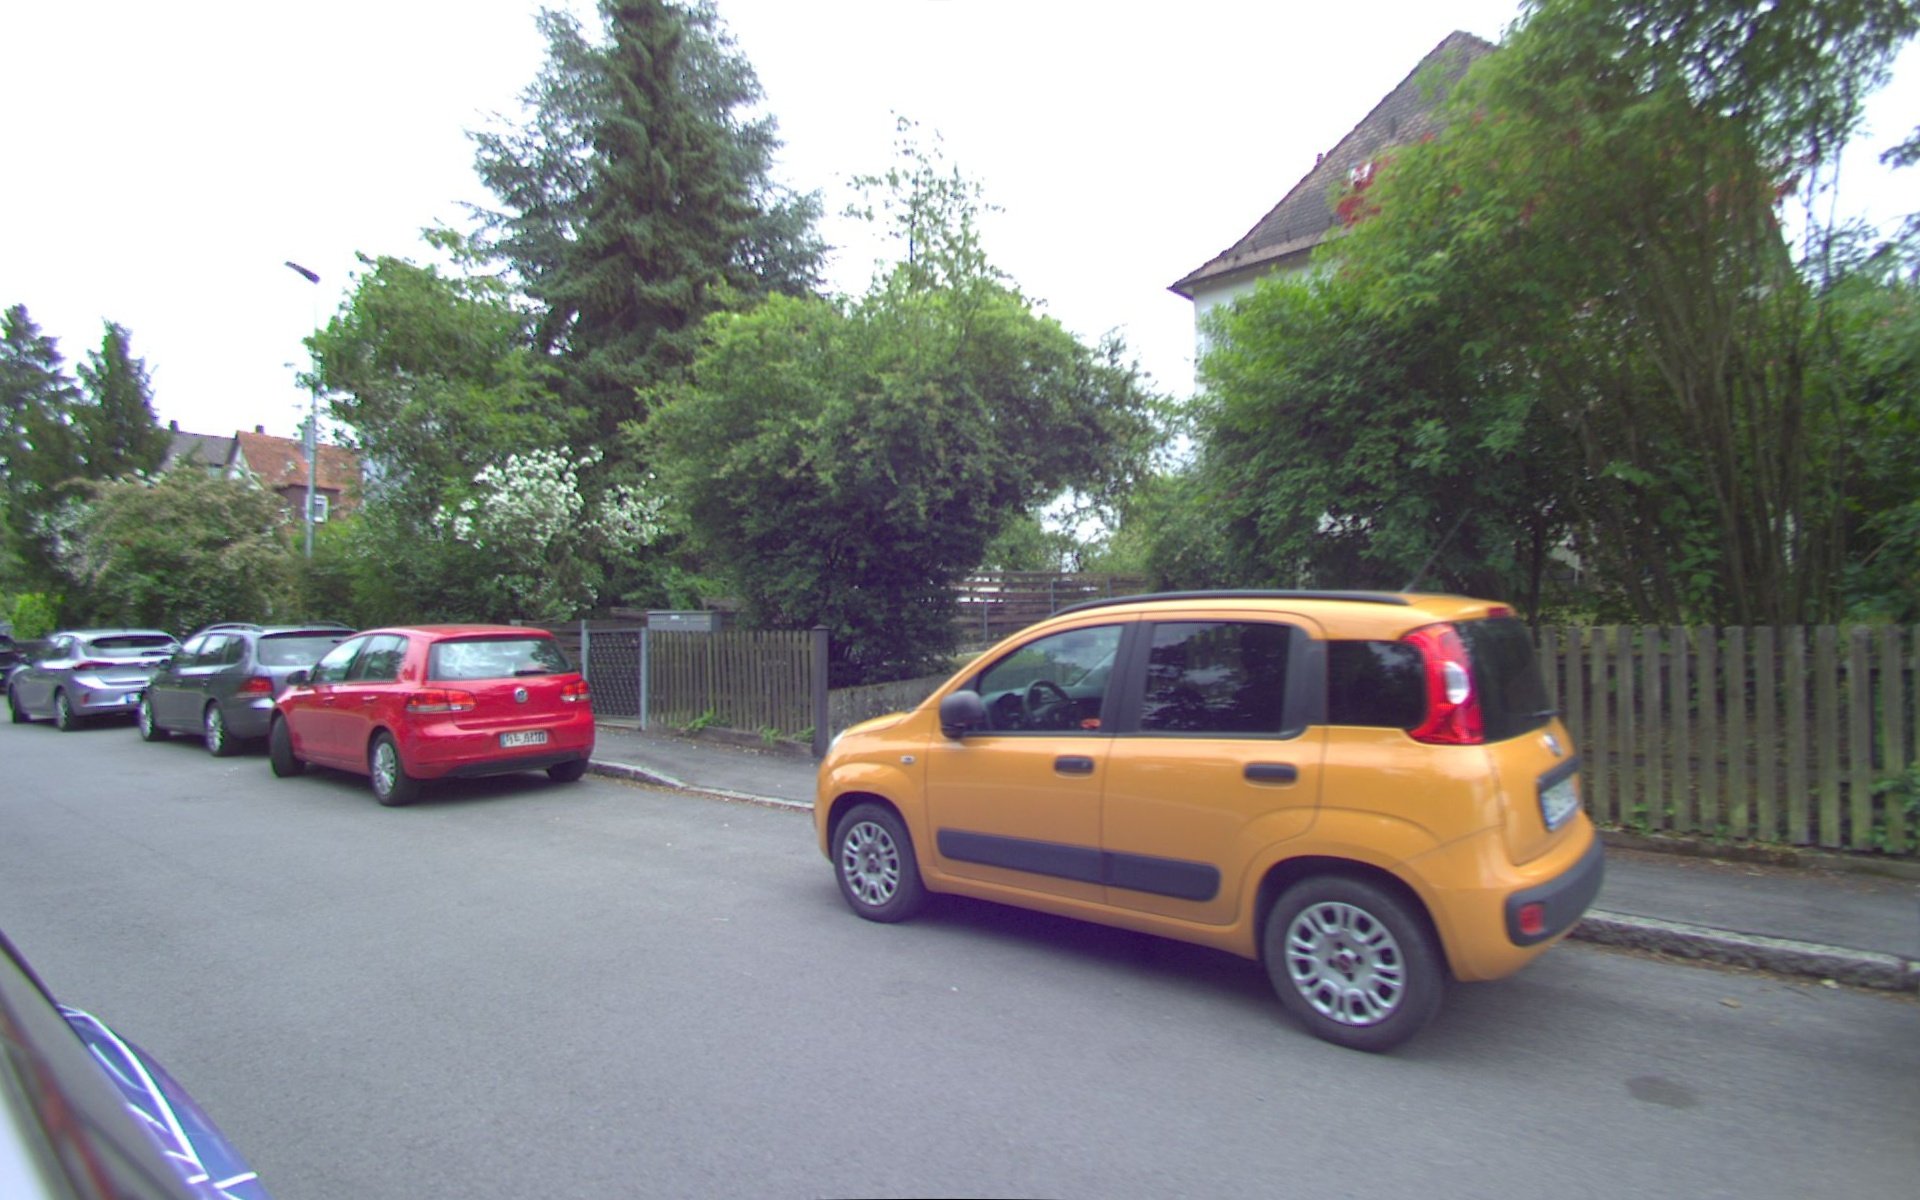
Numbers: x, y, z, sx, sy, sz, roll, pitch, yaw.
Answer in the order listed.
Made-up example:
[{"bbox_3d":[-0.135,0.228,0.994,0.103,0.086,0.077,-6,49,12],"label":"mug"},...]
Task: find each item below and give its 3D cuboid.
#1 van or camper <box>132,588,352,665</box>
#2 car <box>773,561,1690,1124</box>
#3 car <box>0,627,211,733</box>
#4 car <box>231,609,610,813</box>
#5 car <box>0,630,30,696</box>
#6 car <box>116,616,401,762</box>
[{"bbox_3d":[-27.672,0.933,39.243,2.324,2.671,6.606,-2,0,44],"label":"van or camper"},{"bbox_3d":[0.944,0.697,4.513,3.640,1.526,1.528,-2,-1,40],"label":"car"},{"bbox_3d":[-13.495,1.165,15.785,4.150,1.421,1.692,-2,-1,35],"label":"car"},{"bbox_3d":[-5.302,0.888,9.684,4.359,1.526,1.690,-2,-1,40],"label":"car"},{"bbox_3d":[-22.901,1.433,23.033,4.122,1.427,1.692,-2,-1,35],"label":"car"},{"bbox_3d":[-8.929,0.996,12.732,4.488,1.526,1.691,-2,-1,38],"label":"car"}]
